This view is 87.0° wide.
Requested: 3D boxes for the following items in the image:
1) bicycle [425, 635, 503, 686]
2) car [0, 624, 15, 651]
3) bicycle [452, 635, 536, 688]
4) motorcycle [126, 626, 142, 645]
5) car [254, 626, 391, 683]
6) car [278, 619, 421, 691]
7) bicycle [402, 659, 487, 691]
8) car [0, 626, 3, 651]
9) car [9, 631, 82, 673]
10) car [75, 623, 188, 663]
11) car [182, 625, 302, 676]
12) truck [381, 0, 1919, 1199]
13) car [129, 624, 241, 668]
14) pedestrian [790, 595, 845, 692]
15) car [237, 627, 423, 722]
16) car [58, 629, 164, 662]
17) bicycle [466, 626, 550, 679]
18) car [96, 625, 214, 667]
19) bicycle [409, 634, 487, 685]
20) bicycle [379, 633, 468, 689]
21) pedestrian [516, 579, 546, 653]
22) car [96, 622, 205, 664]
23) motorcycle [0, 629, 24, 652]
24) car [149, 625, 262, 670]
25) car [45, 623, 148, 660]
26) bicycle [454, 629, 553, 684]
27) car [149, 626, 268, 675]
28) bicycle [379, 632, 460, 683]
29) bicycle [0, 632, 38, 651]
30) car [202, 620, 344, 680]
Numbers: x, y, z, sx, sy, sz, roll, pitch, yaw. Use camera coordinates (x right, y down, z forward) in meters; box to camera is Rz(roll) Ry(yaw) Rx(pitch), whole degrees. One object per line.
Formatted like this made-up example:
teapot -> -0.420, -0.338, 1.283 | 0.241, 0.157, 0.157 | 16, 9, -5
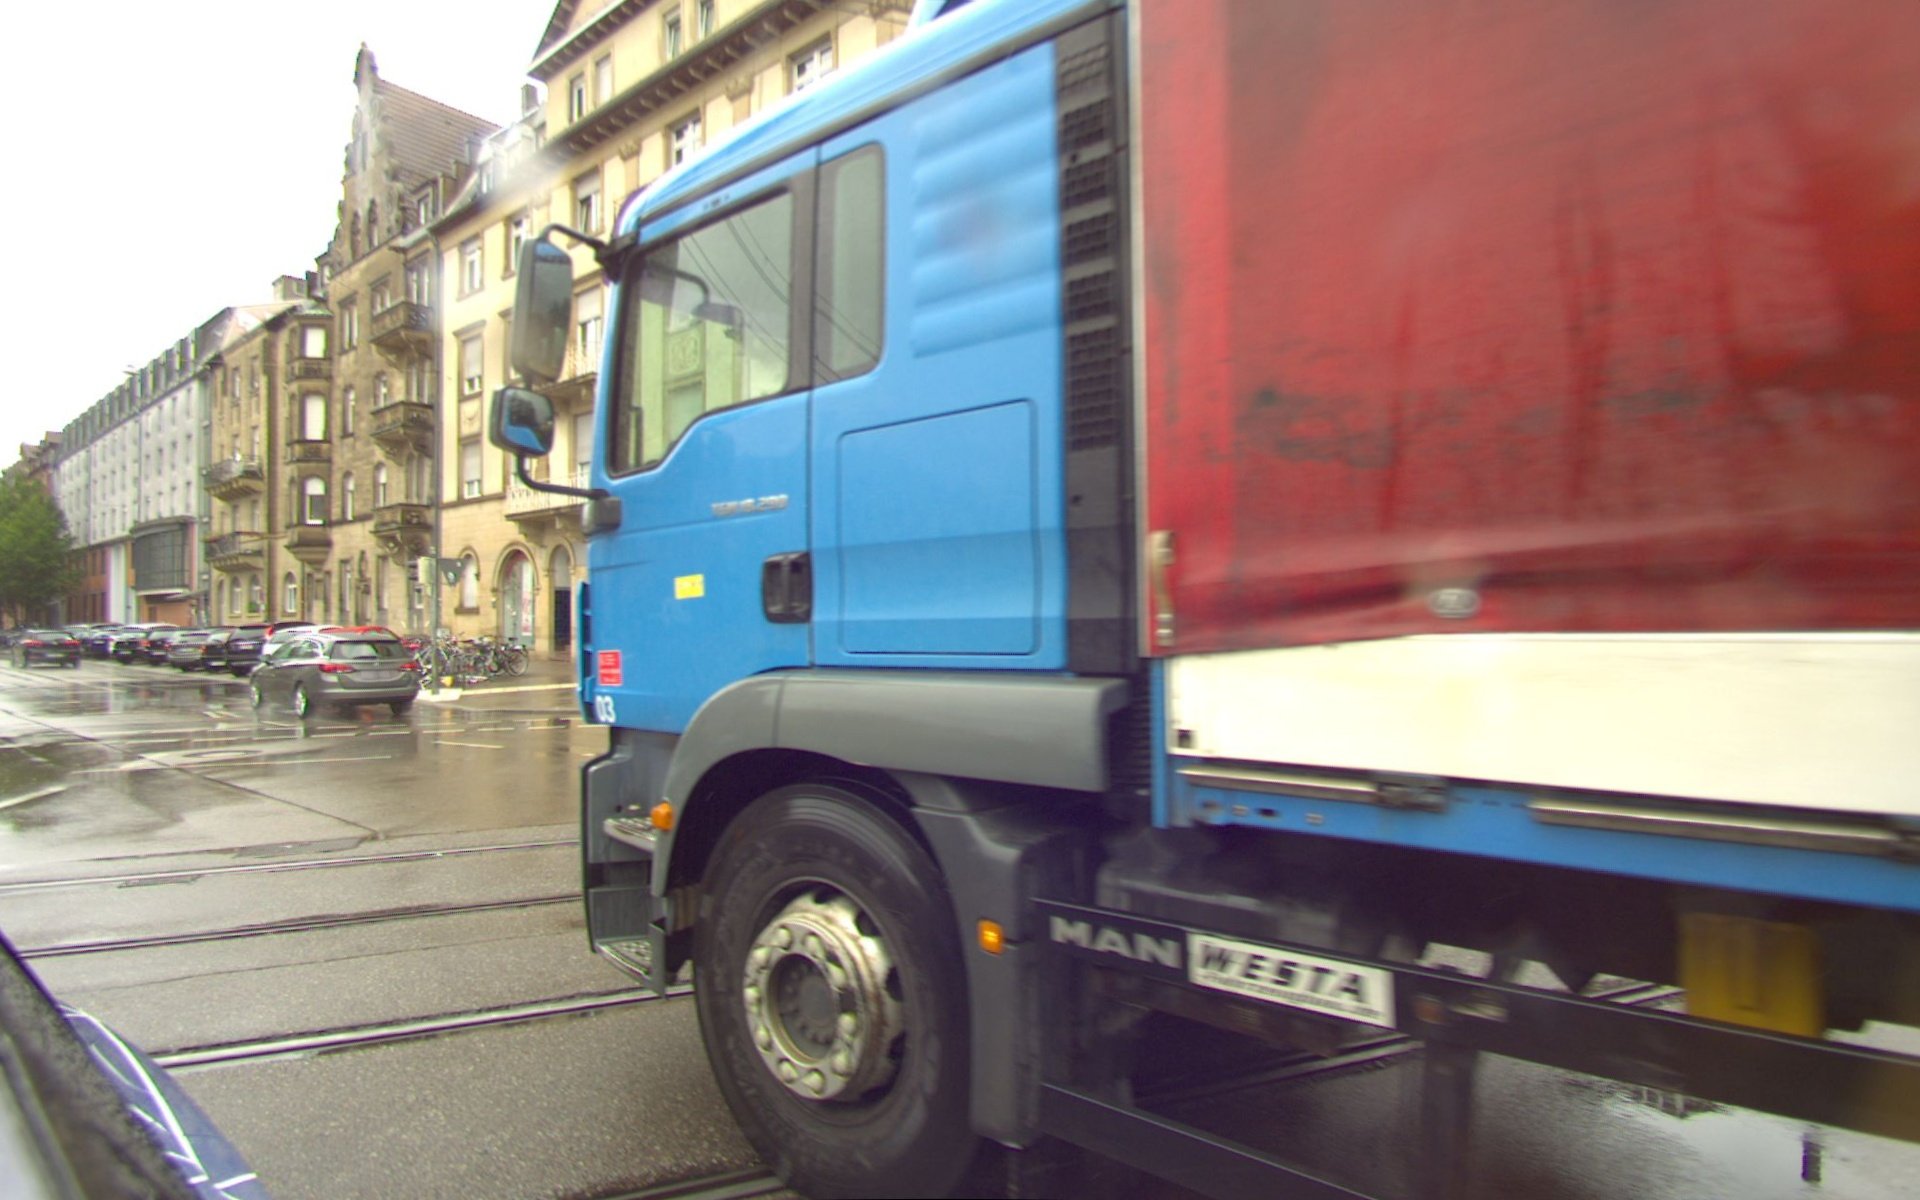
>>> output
bicycle -> -13.235, 1.594, 27.043 | 0.467, 1.193, 1.793 | -1, 2, 39
car -> -64.789, 2.444, 66.135 | 1.981, 1.828, 3.981 | 0, -2, 14
bicycle -> -12.151, 1.584, 26.430 | 0.474, 1.193, 1.961 | -1, 2, 38
motorcycle -> -53.274, 2.281, 65.265 | 1.676, 1.238, 0.539 | -1, -2, 41
car -> -19.662, 1.641, 31.431 | 1.681, 1.545, 3.992 | -2, 0, 1
car -> -17.716, 1.536, 29.610 | 1.777, 1.518, 4.003 | -5, 3, -2
bicycle -> -12.244, 1.767, 24.060 | 1.462, 0.668, 1.039 | -1, 1, 11
car -> -68.326, 2.622, 69.211 | 1.993, 1.728, 3.762 | -1, -2, 31
car -> -35.684, 1.991, 39.464 | 3.778, 1.558, 1.724 | -1, -2, 42
car -> -38.208, 1.945, 46.787 | 1.881, 1.539, 3.716 | 0, 2, 10
car -> -24.639, 1.687, 34.841 | 1.678, 1.537, 3.308 | -2, 0, 3
truck -> 2.726, -0.635, 1.529 | 10.307, 4.056, 2.817 | -1, -2, 40
car -> -31.262, 1.829, 40.963 | 1.606, 1.555, 3.758 | -2, 0, 1
pedestrian -> -3.012, 0.903, 21.478 | 0.698, 1.980, 0.911 | 2, 1, 33
car -> -11.739, 1.285, 18.741 | 4.337, 1.558, 1.708 | -1, -2, 41
car -> -40.397, 2.139, 48.271 | 1.697, 1.539, 3.721 | 0, -2, 6
bicycle -> -12.095, 1.394, 27.160 | 0.584, 1.356, 2.038 | -1, -2, 36
car -> -33.795, 1.892, 42.605 | 1.757, 1.555, 3.721 | -2, 0, 6
bicycle -> -13.834, 1.581, 27.386 | 0.474, 1.193, 1.792 | -1, 2, 39
bicycle -> -13.544, 1.524, 25.611 | 0.438, 1.340, 1.954 | -2, -2, 43
pedestrian -> -13.818, 0.522, 32.565 | 0.834, 2.358, 0.767 | 1, -2, -27
car -> -35.970, 1.870, 45.077 | 1.755, 1.639, 3.724 | -2, 0, 3
motorcycle -> -56.912, 2.417, 59.817 | 0.758, 1.320, 2.226 | -1, 0, 41
car -> -29.064, 1.799, 39.110 | 1.608, 1.555, 3.439 | -2, 0, 5
car -> -42.772, 2.041, 50.236 | 1.791, 1.743, 3.923 | 0, -2, -1
bicycle -> -11.666, 1.418, 25.957 | 0.639, 1.356, 2.319 | -1, -2, 36
car -> -27.023, 1.779, 36.503 | 1.678, 1.555, 3.428 | -2, 0, 2
bicycle -> -14.787, 1.550, 27.705 | 1.789, 1.193, 0.601 | -5, 2, -44
bicycle -> -57.631, 2.521, 61.933 | 0.544, 1.081, 1.667 | -1, 1, 38
car -> -22.159, 1.565, 32.856 | 1.740, 1.705, 4.083 | -2, 0, 1
